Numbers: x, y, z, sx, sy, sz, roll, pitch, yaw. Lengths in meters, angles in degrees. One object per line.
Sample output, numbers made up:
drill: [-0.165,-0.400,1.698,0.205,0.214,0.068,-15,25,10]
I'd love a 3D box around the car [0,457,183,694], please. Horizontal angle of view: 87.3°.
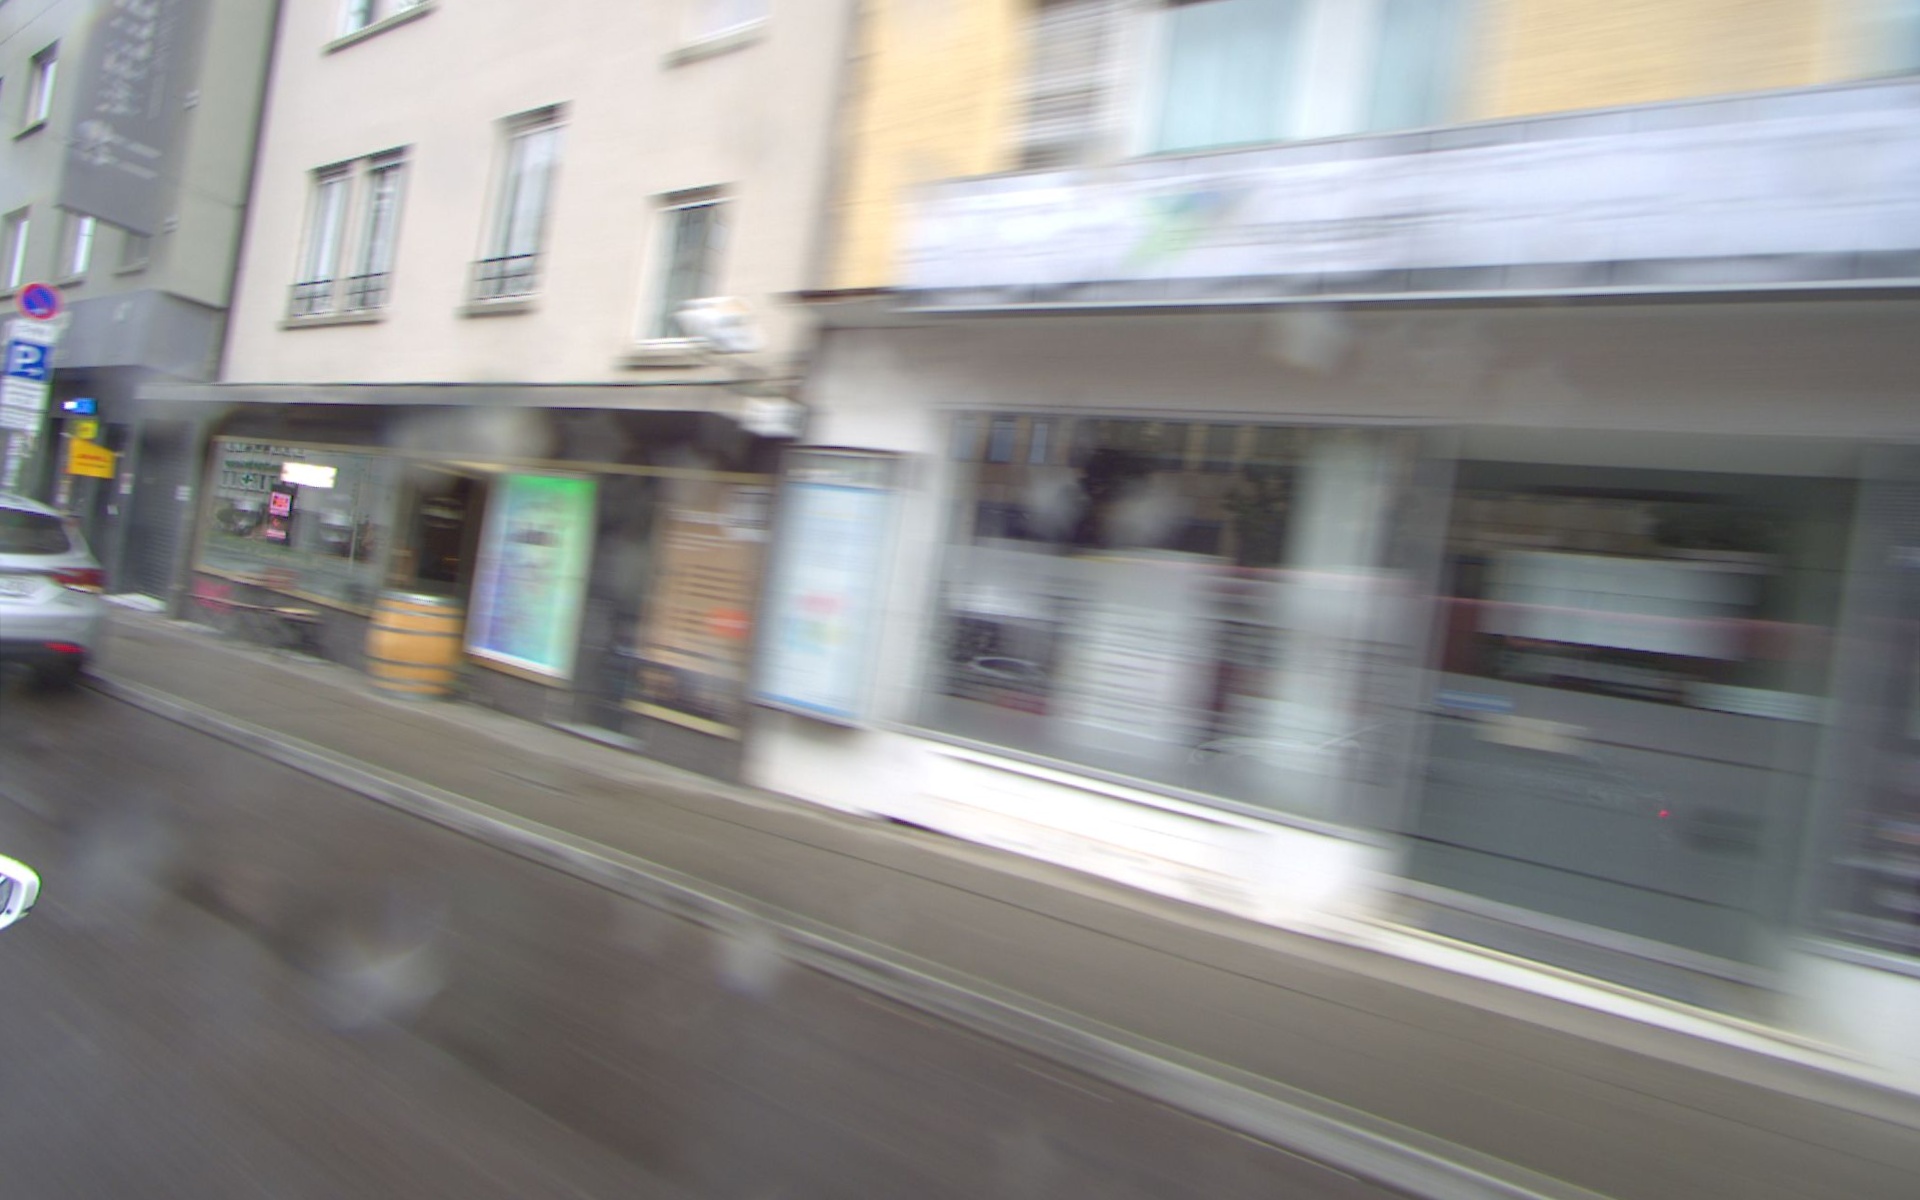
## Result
car: [-8.560,-0.402,8.133,4.544,1.612,2.028,7,-2,32]
